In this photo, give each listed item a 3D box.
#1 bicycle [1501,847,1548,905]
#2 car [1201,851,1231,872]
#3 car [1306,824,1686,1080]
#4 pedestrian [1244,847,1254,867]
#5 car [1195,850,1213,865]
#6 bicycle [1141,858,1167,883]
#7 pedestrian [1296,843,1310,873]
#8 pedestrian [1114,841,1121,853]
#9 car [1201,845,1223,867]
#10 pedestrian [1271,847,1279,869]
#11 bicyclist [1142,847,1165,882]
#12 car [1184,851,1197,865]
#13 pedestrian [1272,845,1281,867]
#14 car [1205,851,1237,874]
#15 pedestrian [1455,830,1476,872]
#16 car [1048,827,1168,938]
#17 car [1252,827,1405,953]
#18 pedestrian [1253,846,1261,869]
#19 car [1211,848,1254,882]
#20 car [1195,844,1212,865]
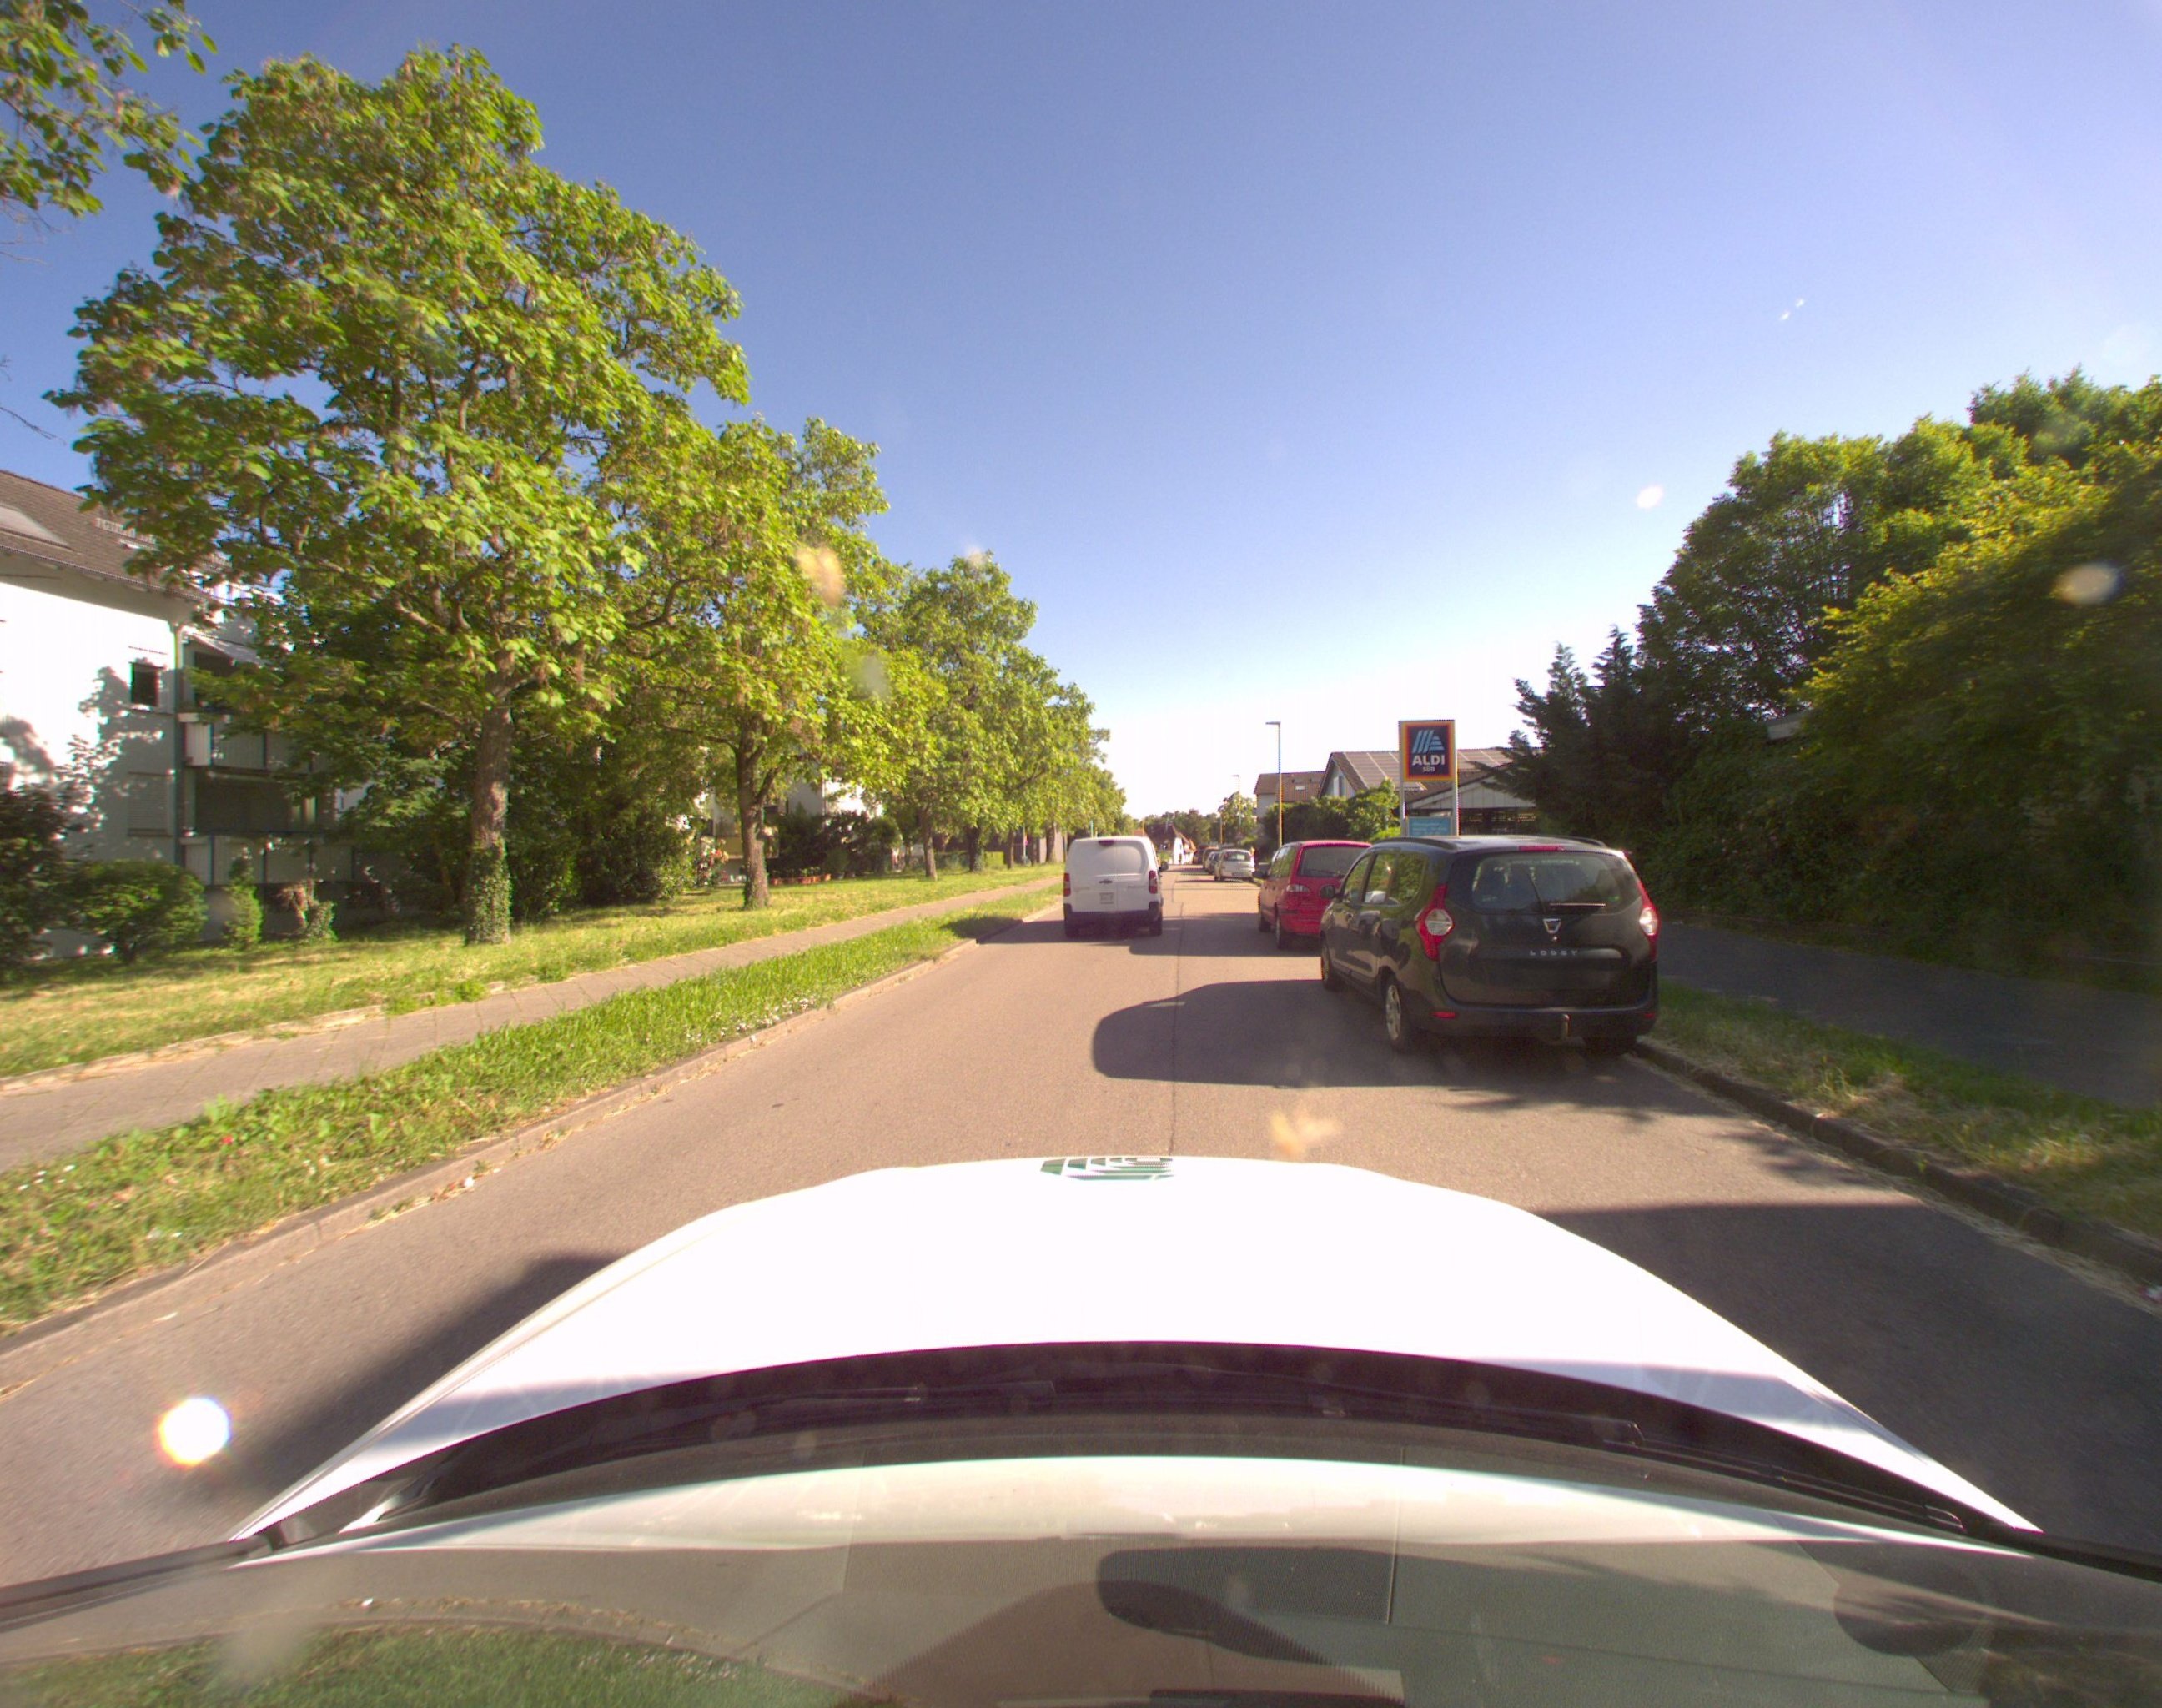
[{"bbox_3d":[10.078,0.490,18.569,0.714,1.221,1.906,-3,-2,23],"label":"bicycle"},{"bbox_3d":[9.578,0.529,57.900,1.817,1.452,4.006,0,0,6],"label":"car"},{"bbox_3d":[3.301,0.638,7.516,1.715,1.656,4.361,-1,0,7],"label":"car"},{"bbox_3d":[16.149,0.269,78.132,0.791,1.861,0.874,0,0,0],"label":"pedestrian"},{"bbox_3d":[14.481,0.426,96.013,1.795,1.785,4.006,1,-1,6],"label":"car"},{"bbox_3d":[3.336,0.742,37.505,0.785,1.138,2.276,-1,0,-5],"label":"bicycle"},{"bbox_3d":[13.334,0.217,48.988,0.792,1.782,0.812,-1,0,15],"label":"pedestrian"},{"bbox_3d":[4.420,-0.903,98.714,0.504,1.446,0.643,-1,0,40],"label":"pedestrian"},{"bbox_3d":[11.154,0.200,69.548,1.714,1.837,4.009,0,0,8],"label":"car"},{"bbox_3d":[14.651,0.270,61.461,0.563,1.637,0.548,-1,0,12],"label":"pedestrian"},{"bbox_3d":[3.332,0.491,37.543,0.904,1.584,0.965,0,-1,-4],"label":"bicyclist"},{"bbox_3d":[16.378,0.586,122.287,1.795,2.069,4.006,1,-1,6],"label":"car"},{"bbox_3d":[14.740,0.139,61.398,0.563,1.637,0.548,-1,0,12],"label":"pedestrian"},{"bbox_3d":[8.933,0.506,52.215,1.797,1.443,4.372,0,0,7],"label":"car"},{"bbox_3d":[15.221,-0.112,32.239,0.685,1.631,0.781,-1,0,28],"label":"pedestrian"},{"bbox_3d":[0.686,0.489,16.260,1.983,1.882,4.297,-1,0,7],"label":"car"},{"bbox_3d":[4.070,0.519,14.159,1.830,1.805,4.664,-1,0,8],"label":"car"},{"bbox_3d":[12.728,0.239,58.835,0.563,1.637,0.548,-1,0,12],"label":"pedestrian"},{"bbox_3d":[7.546,0.553,40.805,1.672,1.599,4.032,0,0,4],"label":"car"},{"bbox_3d":[15.490,0.146,103.237,1.857,2.562,4.775,1,-1,6],"label":"car"}]
